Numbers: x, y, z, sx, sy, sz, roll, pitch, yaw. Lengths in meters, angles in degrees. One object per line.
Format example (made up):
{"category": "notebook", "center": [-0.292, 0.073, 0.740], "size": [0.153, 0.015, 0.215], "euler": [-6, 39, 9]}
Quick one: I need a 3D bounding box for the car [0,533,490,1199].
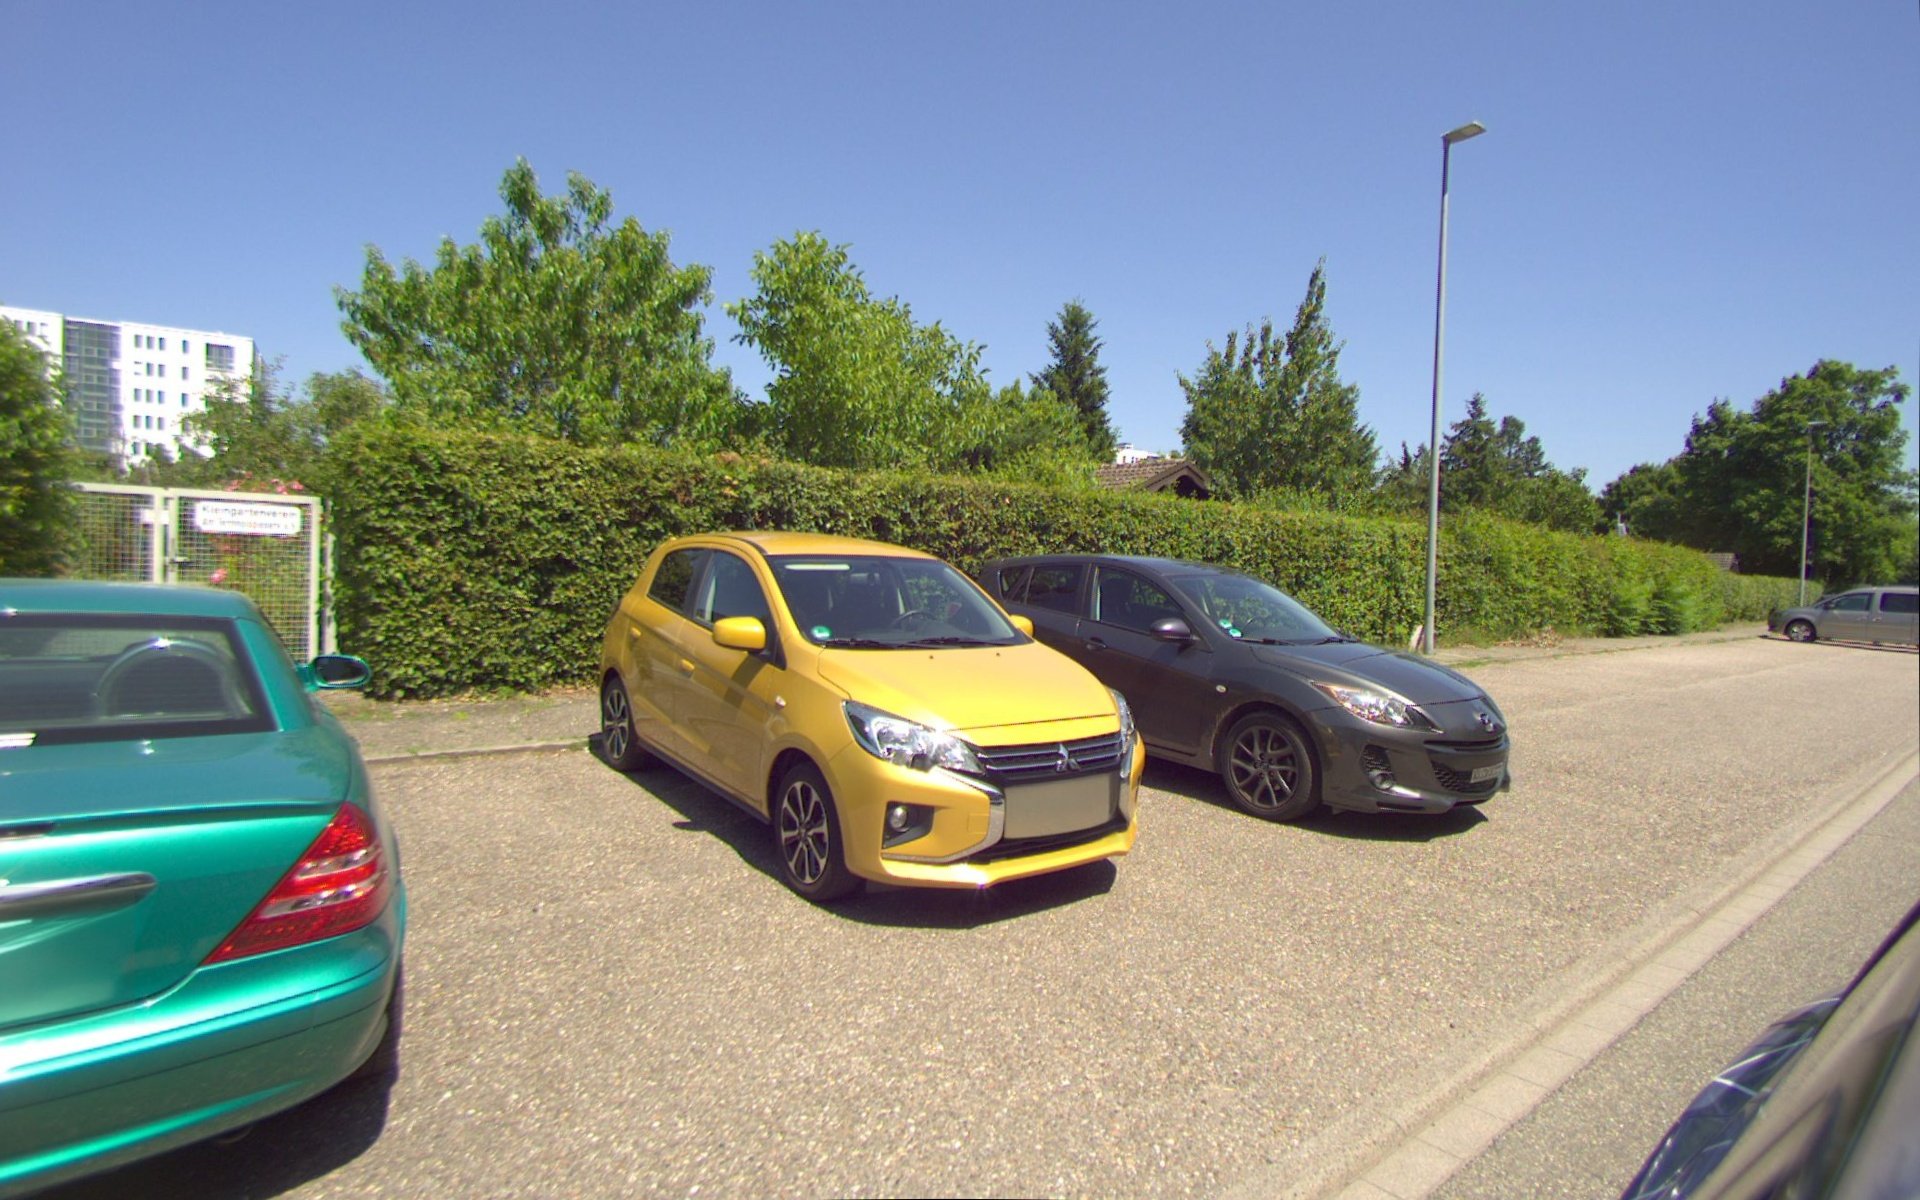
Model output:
{"category": "car", "center": [-2.800, 0.507, 3.138], "size": [1.598, 1.283, 3.747], "euler": [1, 4, -38]}

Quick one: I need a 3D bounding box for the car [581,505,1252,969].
{"category": "car", "center": [-0.583, 0.340, 5.491], "size": [1.741, 1.472, 3.816], "euler": [1, 6, -37]}

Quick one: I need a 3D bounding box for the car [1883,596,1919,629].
{"category": "car", "center": [46.847, 0.679, 48.282], "size": [1.801, 1.470, 4.003], "euler": [1, 4, -43]}

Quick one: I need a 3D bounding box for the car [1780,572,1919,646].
{"category": "car", "center": [26.619, 0.289, 28.918], "size": [1.961, 1.870, 4.631], "euler": [1, 3, -41]}

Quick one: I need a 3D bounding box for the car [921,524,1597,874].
{"category": "car", "center": [1.780, 0.375, 7.170], "size": [1.850, 1.513, 4.175], "euler": [0, 6, -41]}
